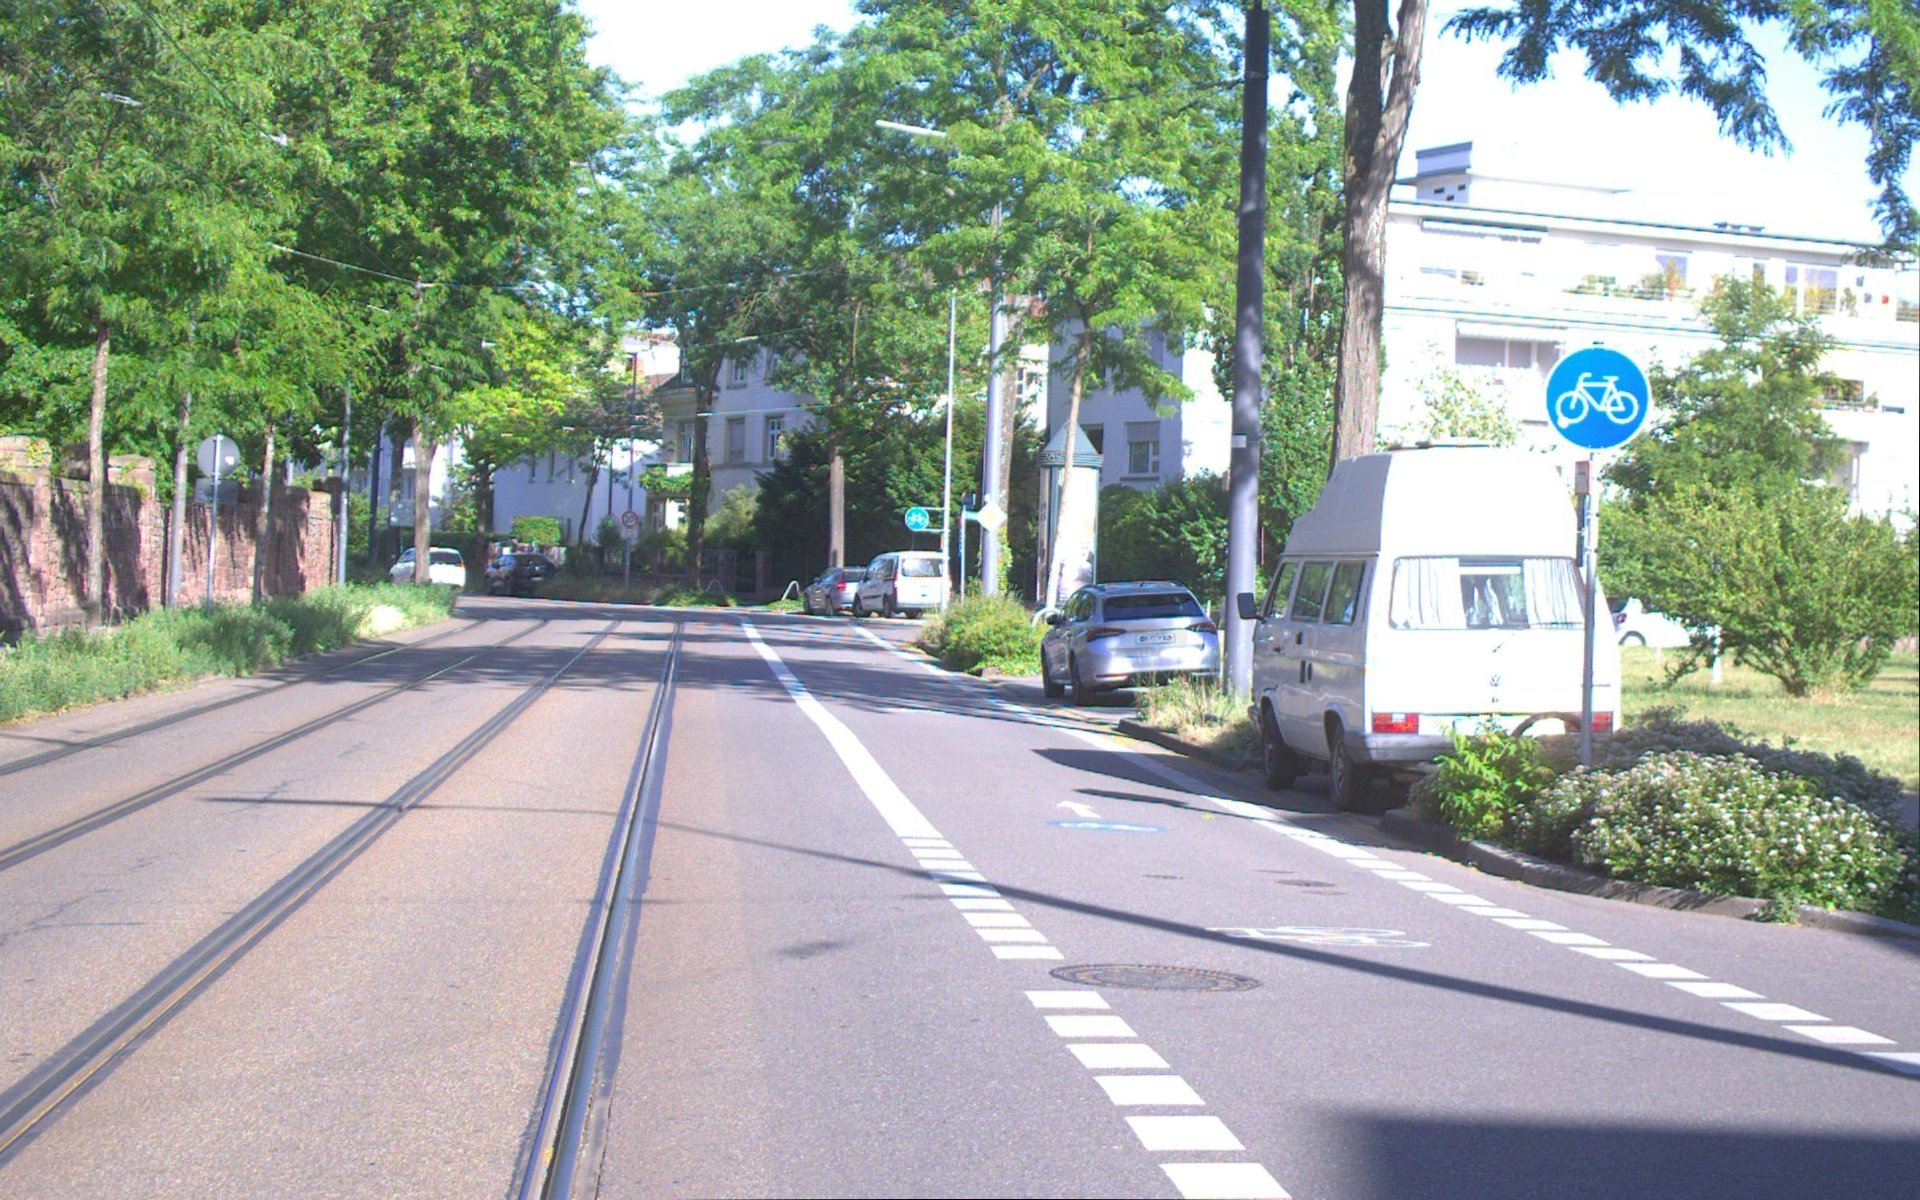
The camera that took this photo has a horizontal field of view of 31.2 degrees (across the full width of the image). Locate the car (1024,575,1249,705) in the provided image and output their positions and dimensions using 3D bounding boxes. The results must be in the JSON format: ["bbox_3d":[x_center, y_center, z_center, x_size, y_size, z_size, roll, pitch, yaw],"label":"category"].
[{"bbox_3d":[2.138,0.451,43.258,2.000,1.460,5.434,-1,1,-6],"label":"car"}]

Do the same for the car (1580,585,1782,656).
[{"bbox_3d":[17.037,0.505,81.309,4.279,1.505,1.840,2,-2,-16],"label":"car"}]

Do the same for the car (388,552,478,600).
[{"bbox_3d":[-19.143,-0.857,124.800,1.892,1.605,4.229,2,-1,-28],"label":"car"}]

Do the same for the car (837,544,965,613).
[{"bbox_3d":[-1.645,-0.610,93.492,2.022,1.741,4.753,1,1,-20],"label":"car"}]

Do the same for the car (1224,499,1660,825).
[{"bbox_3d":[3.359,0.372,24.969,1.993,2.088,4.717,2,1,-6],"label":"car"}]

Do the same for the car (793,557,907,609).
[{"bbox_3d":[-3.208,-0.515,99.296,1.993,1.418,4.334,1,0,-20],"label":"car"}]

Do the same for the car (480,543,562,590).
[{"bbox_3d":[-16.677,-1.292,130.464,1.804,1.688,4.730,-2,2,-23],"label":"car"}]
